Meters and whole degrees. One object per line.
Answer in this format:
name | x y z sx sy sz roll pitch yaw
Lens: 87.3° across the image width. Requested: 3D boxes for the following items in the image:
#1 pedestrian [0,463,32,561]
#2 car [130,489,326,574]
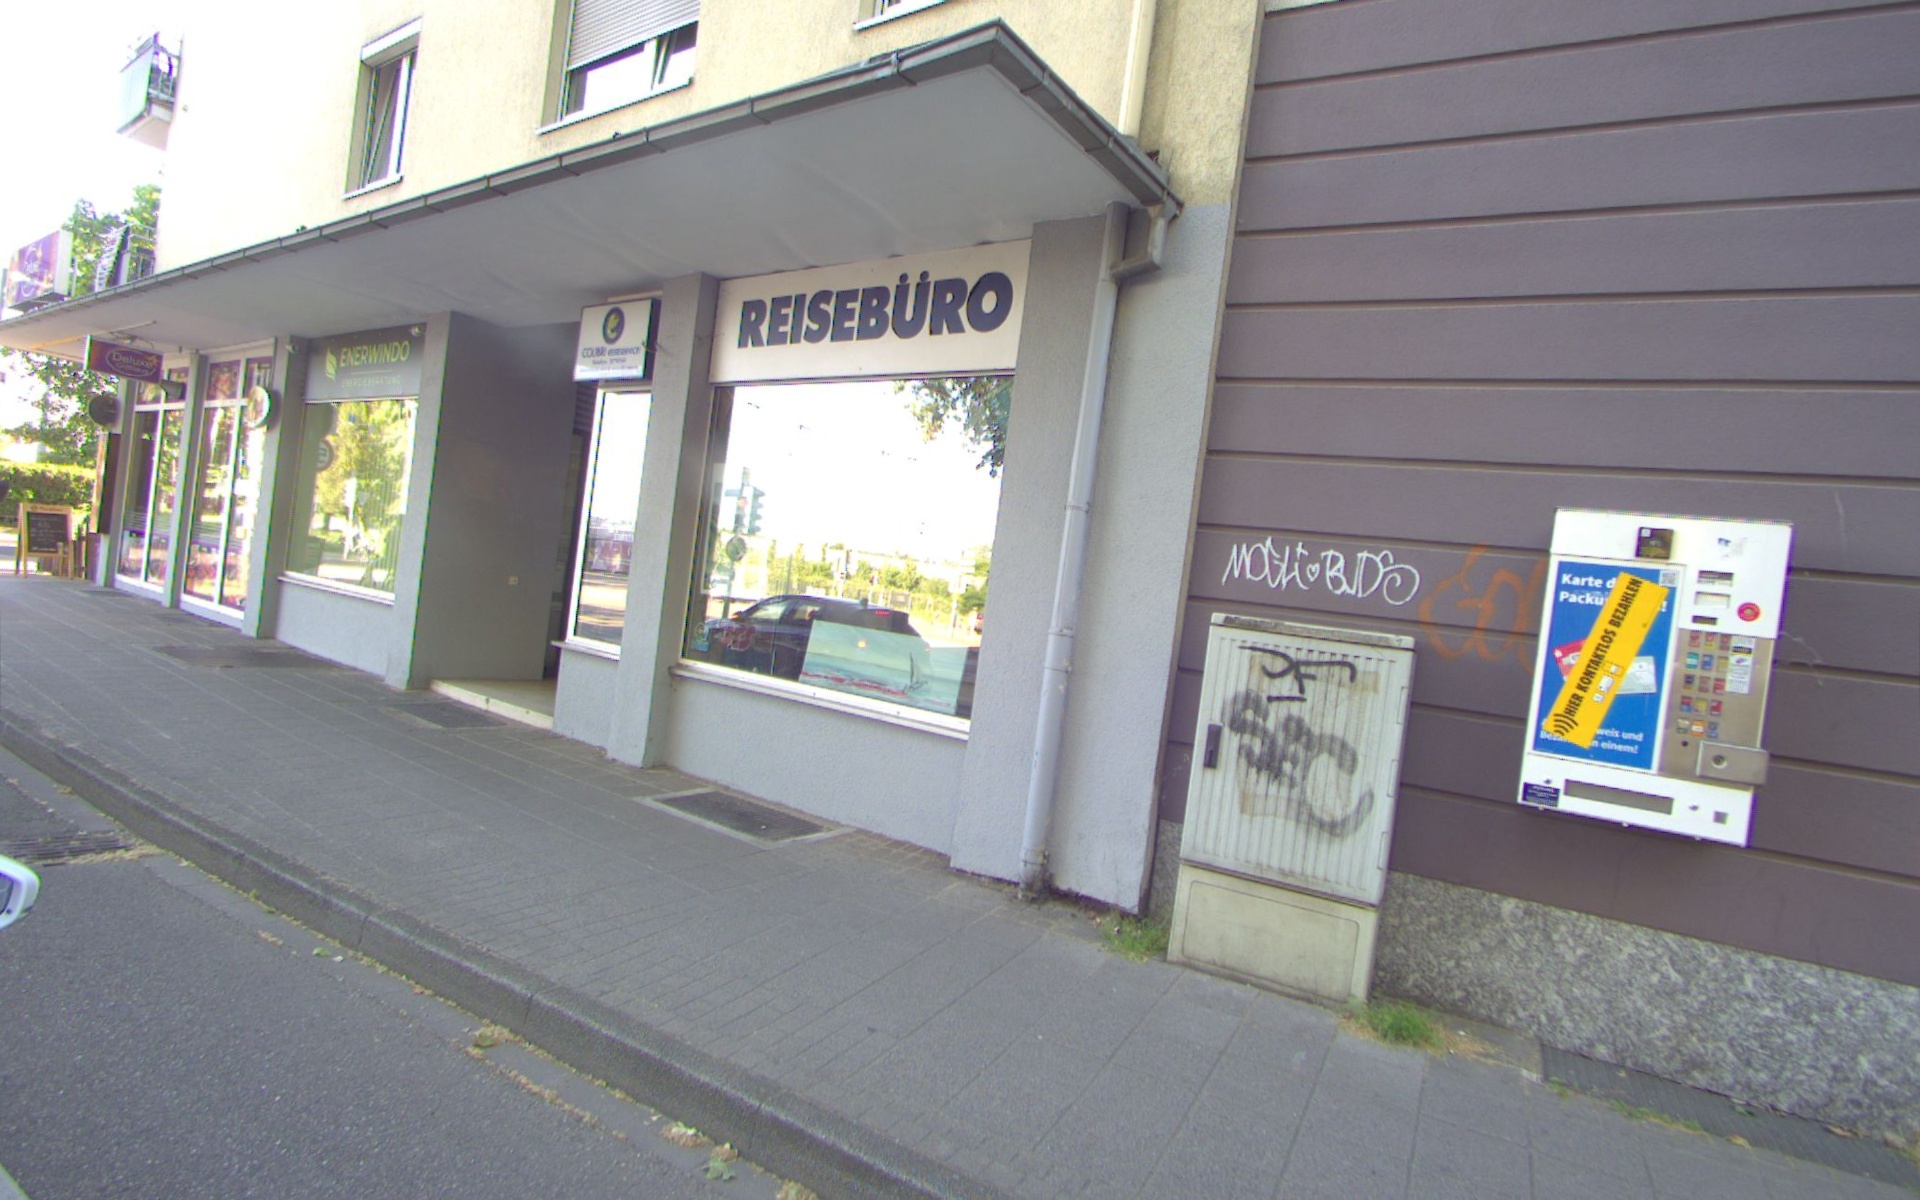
pedestrian | -18.879 -1.736 19.682 0.695 1.869 0.698 7 1 -19
car | -21.053 -1.906 29.080 1.781 1.835 4.172 4 -3 40
